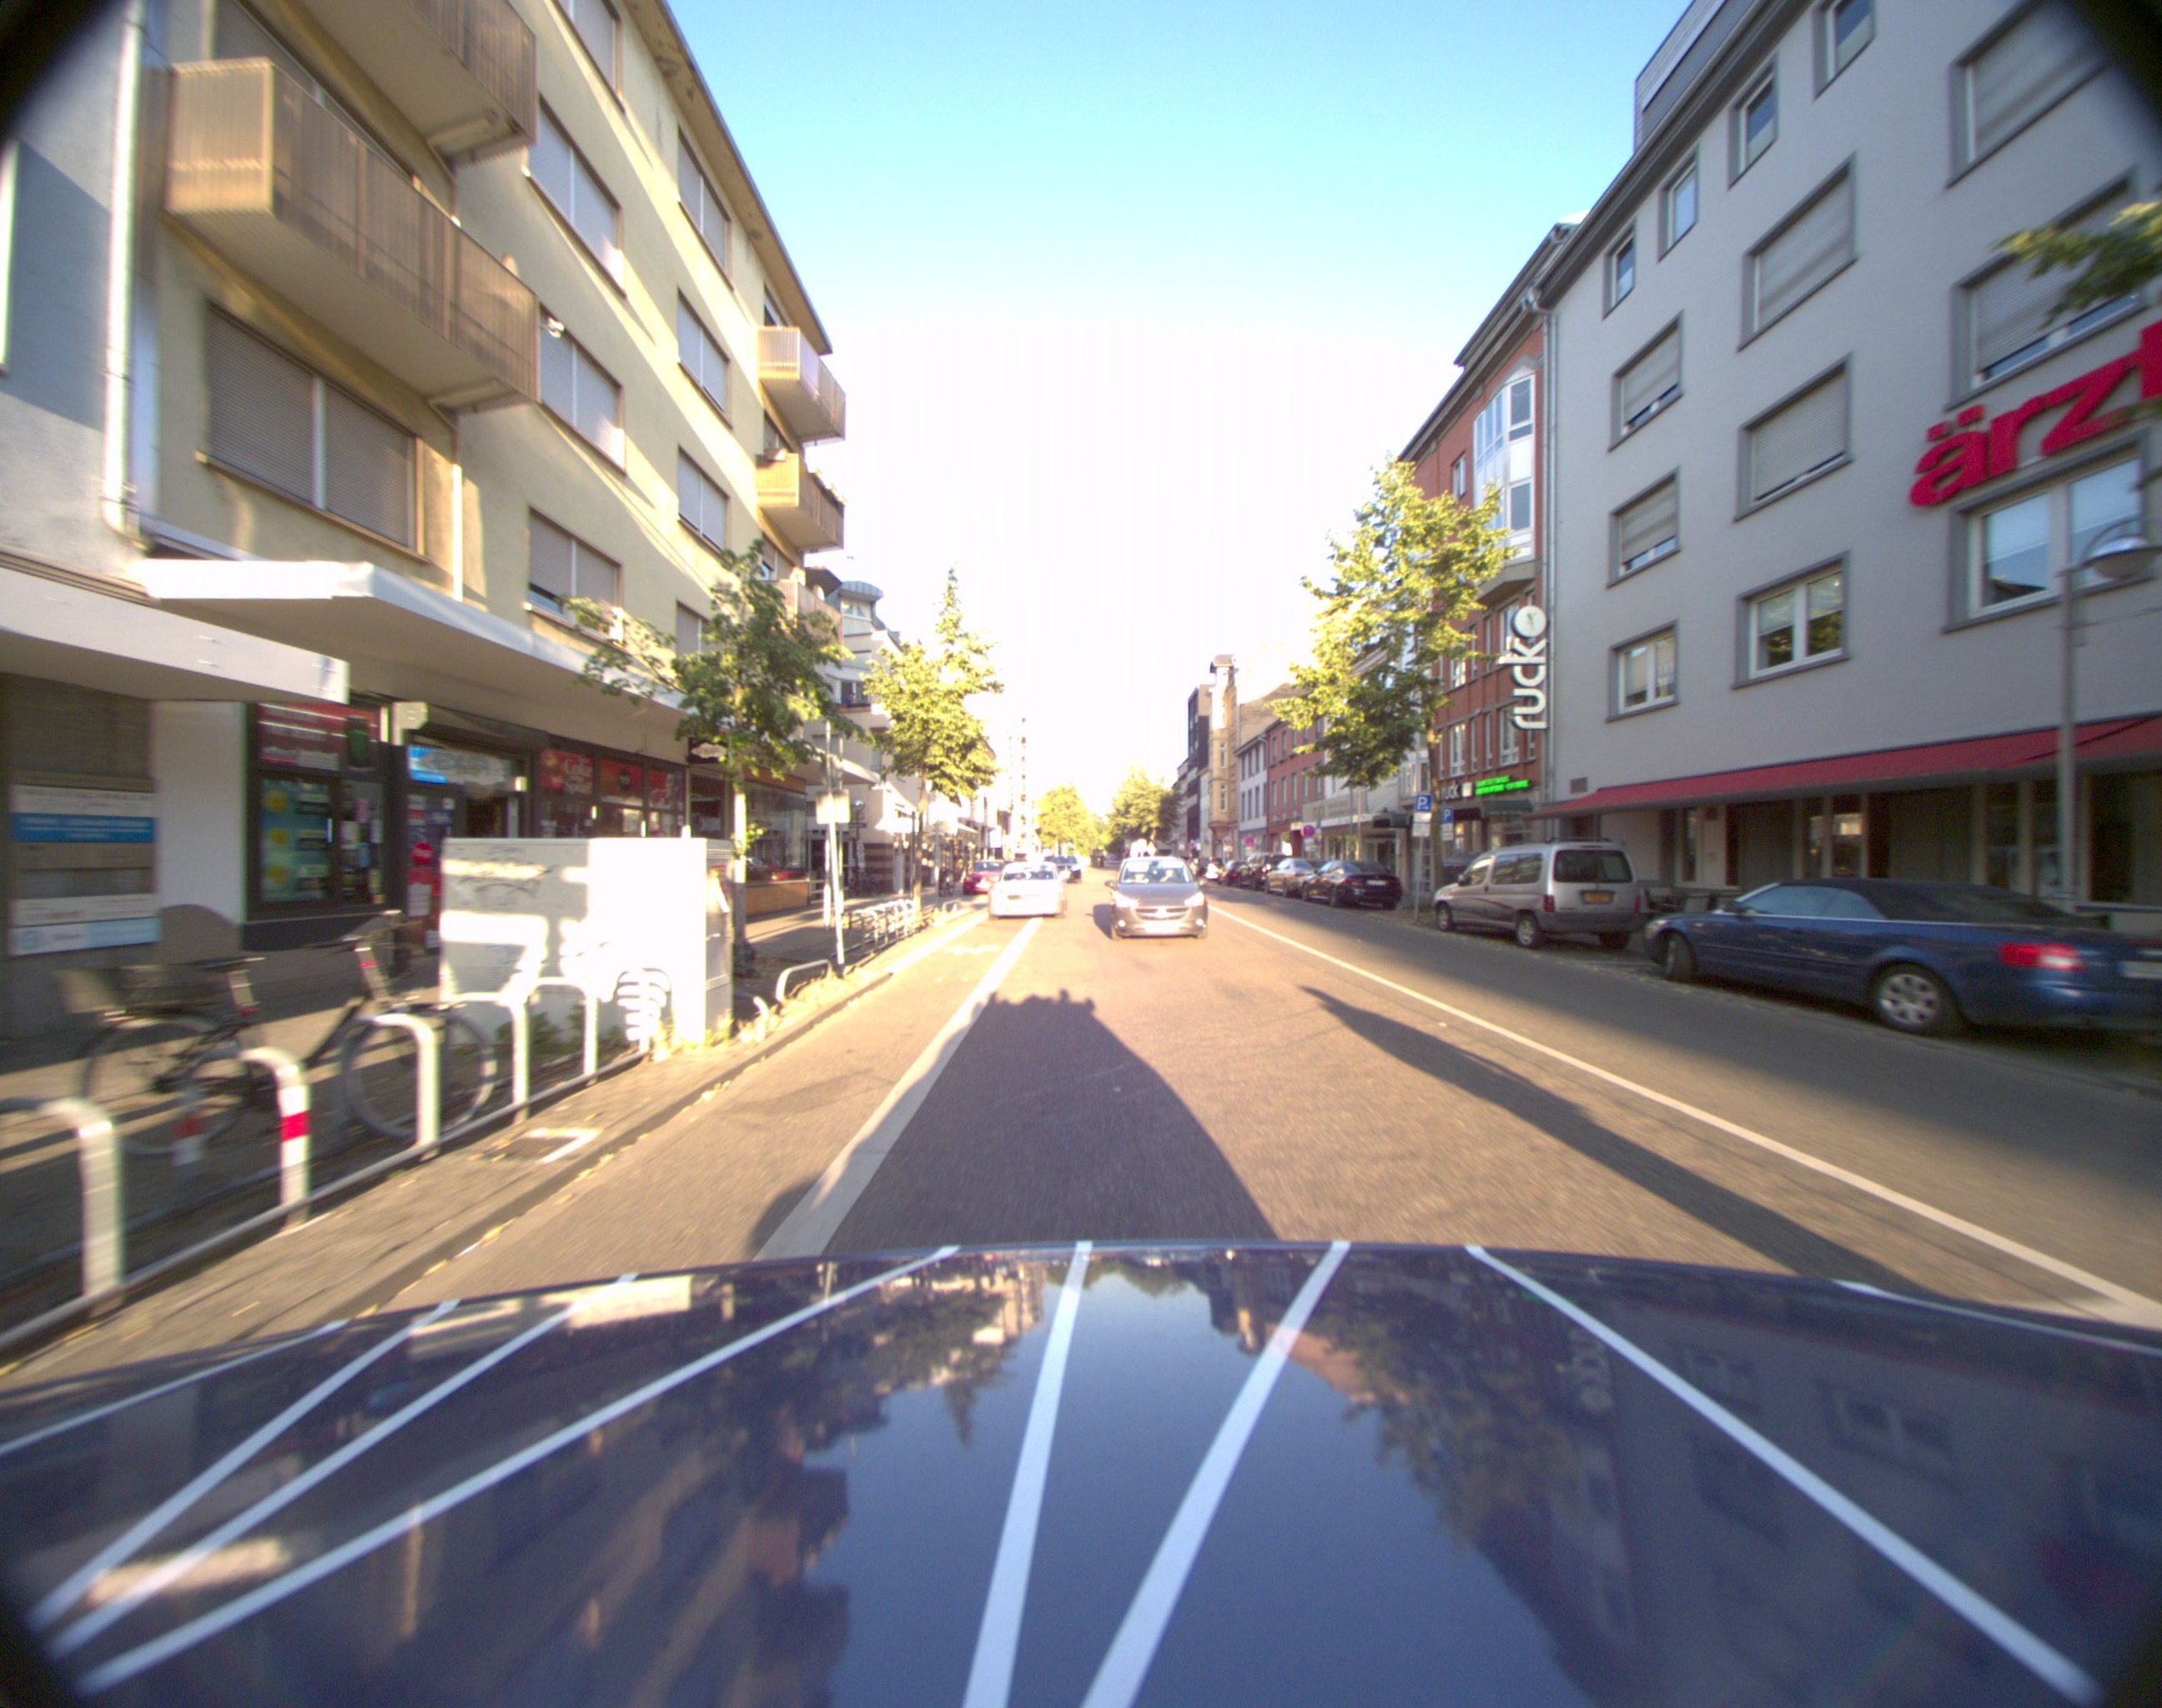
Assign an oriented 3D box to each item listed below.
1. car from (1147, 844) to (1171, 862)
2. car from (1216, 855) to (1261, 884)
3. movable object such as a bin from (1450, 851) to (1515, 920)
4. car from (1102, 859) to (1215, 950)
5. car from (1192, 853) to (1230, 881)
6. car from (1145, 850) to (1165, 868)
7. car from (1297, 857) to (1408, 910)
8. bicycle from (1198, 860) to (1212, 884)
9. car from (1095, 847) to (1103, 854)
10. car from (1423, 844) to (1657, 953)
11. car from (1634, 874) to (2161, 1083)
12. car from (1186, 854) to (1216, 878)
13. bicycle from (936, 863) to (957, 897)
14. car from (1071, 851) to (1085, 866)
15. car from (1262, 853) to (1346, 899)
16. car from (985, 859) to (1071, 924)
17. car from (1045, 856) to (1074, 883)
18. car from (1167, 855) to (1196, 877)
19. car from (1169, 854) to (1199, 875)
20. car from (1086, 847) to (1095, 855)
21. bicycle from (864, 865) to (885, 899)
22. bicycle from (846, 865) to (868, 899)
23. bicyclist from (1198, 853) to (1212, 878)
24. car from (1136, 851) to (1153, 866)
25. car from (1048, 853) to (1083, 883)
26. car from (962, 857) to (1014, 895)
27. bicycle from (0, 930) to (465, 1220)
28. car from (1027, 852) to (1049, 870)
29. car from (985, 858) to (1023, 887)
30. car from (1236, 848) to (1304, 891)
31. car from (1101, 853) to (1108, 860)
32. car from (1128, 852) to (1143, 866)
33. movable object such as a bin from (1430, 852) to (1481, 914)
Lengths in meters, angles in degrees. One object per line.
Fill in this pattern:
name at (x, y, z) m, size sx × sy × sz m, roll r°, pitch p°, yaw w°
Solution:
car at (7.311, -0.093, 71.386) m, size 1.795 × 1.606 × 3.972 m, roll -2°, pitch 1°, yaw 0°
car at (8.646, 0.831, 41.958) m, size 1.736 × 1.516 × 3.842 m, roll 0°, pitch 0°, yaw 0°
movable object such as a bin at (9.625, 0.726, 18.282) m, size 0.753 × 1.535 × 1.484 m, roll -2°, pitch 1°, yaw 0°
car at (1.334, 0.848, 14.471) m, size 1.587 × 1.445 × 3.841 m, roll -1°, pitch 0°, yaw -3°
car at (8.612, 0.809, 50.591) m, size 1.876 × 1.718 × 4.140 m, roll -1°, pitch 1°, yaw 0°
car at (7.657, 0.517, 79.027) m, size 1.765 × 1.762 × 3.872 m, roll 0°, pitch 0°, yaw 1°
car at (8.225, 0.819, 23.428) m, size 1.804 × 1.385 × 4.416 m, roll -1°, pitch 1°, yaw -1°
bicycle at (6.597, 0.934, 40.485) m, size 0.420 × 1.230 × 1.694 m, roll -2°, pitch 1°, yaw -2°
car at (4.243, -0.835, 177.621) m, size 1.672 × 1.630 × 3.255 m, roll -2°, pitch 1°, yaw 1°
car at (8.121, 0.679, 13.945) m, size 1.719 × 1.654 × 3.998 m, roll -2°, pitch 1°, yaw -3°
car at (8.021, 0.968, 7.699) m, size 1.653 × 1.345 × 4.310 m, roll 0°, pitch 1°, yaw -1°
car at (8.742, 0.848, 55.710) m, size 1.685 × 1.581 × 3.516 m, roll -1°, pitch 1°, yaw 1°
bicycle at (-5.208, 0.994, 29.561) m, size 0.505 × 1.231 × 1.712 m, roll 1°, pitch 1°, yaw 0°
car at (-0.339, 0.543, 90.895) m, size 1.692 × 1.644 × 3.733 m, roll -2°, pitch 1°, yaw 0°
car at (8.395, 0.763, 29.100) m, size 1.895 × 1.590 × 4.945 m, roll 1°, pitch 0°, yaw 2°
car at (-1.254, 0.888, 19.866) m, size 1.790 × 1.361 × 4.572 m, roll -2°, pitch 1°, yaw 1°
car at (-1.371, 0.966, 49.002) m, size 1.691 × 1.534 × 3.730 m, roll -2°, pitch 1°, yaw -1°
car at (8.459, 0.949, 64.106) m, size 1.881 × 1.667 × 4.036 m, roll -2°, pitch 1°, yaw 0°
car at (8.044, 0.781, 59.651) m, size 1.791 × 1.504 × 3.777 m, roll -1°, pitch 1°, yaw 0°
car at (2.082, -0.630, 163.092) m, size 1.614 × 1.463 × 3.227 m, roll -2°, pitch 1°, yaw 5°
bicycle at (-7.620, 1.009, 28.023) m, size 0.331 × 1.123 × 2.011 m, roll 1°, pitch 1°, yaw -3°
bicycle at (-8.234, 1.010, 27.987) m, size 0.331 × 1.123 × 2.011 m, roll -1°, pitch 1°, yaw -3°
bicyclist at (6.591, 0.615, 40.469) m, size 0.569 × 1.295 × 0.660 m, roll -2°, pitch 1°, yaw -1°
car at (7.381, 0.502, 88.440) m, size 1.765 × 1.762 × 3.872 m, roll 0°, pitch 0°, yaw 1°
car at (-0.839, 0.767, 44.005) m, size 1.896 × 1.632 × 3.749 m, roll -1°, pitch 0°, yaw 0°
car at (-3.850, 0.886, 32.122) m, size 1.653 × 1.420 × 4.000 m, roll -2°, pitch 0°, yaw 0°
bicycle at (-4.142, 1.015, 3.740) m, size 1.663 × 1.187 × 0.493 m, roll -1°, pitch 0°, yaw -12°
car at (-3.917, 0.629, 70.332) m, size 1.765 × 1.563 × 3.872 m, roll 0°, pitch 0°, yaw 1°
car at (-3.968, 0.925, 39.442) m, size 1.614 × 1.386 × 3.694 m, roll -2°, pitch 0°, yaw -1°
car at (8.807, 0.687, 35.840) m, size 1.973 × 1.873 × 4.947 m, roll 0°, pitch 0°, yaw 0°
car at (6.767, 0.662, 217.040) m, size 1.845 × 1.796 × 3.585 m, roll -2°, pitch 1°, yaw 5°
car at (6.951, 0.637, 97.116) m, size 1.787 × 1.762 × 3.872 m, roll 0°, pitch 0°, yaw 1°
movable object such as a bin at (9.651, 0.735, 19.632) m, size 0.747 × 1.526 × 1.101 m, roll -2°, pitch 0°, yaw 0°
